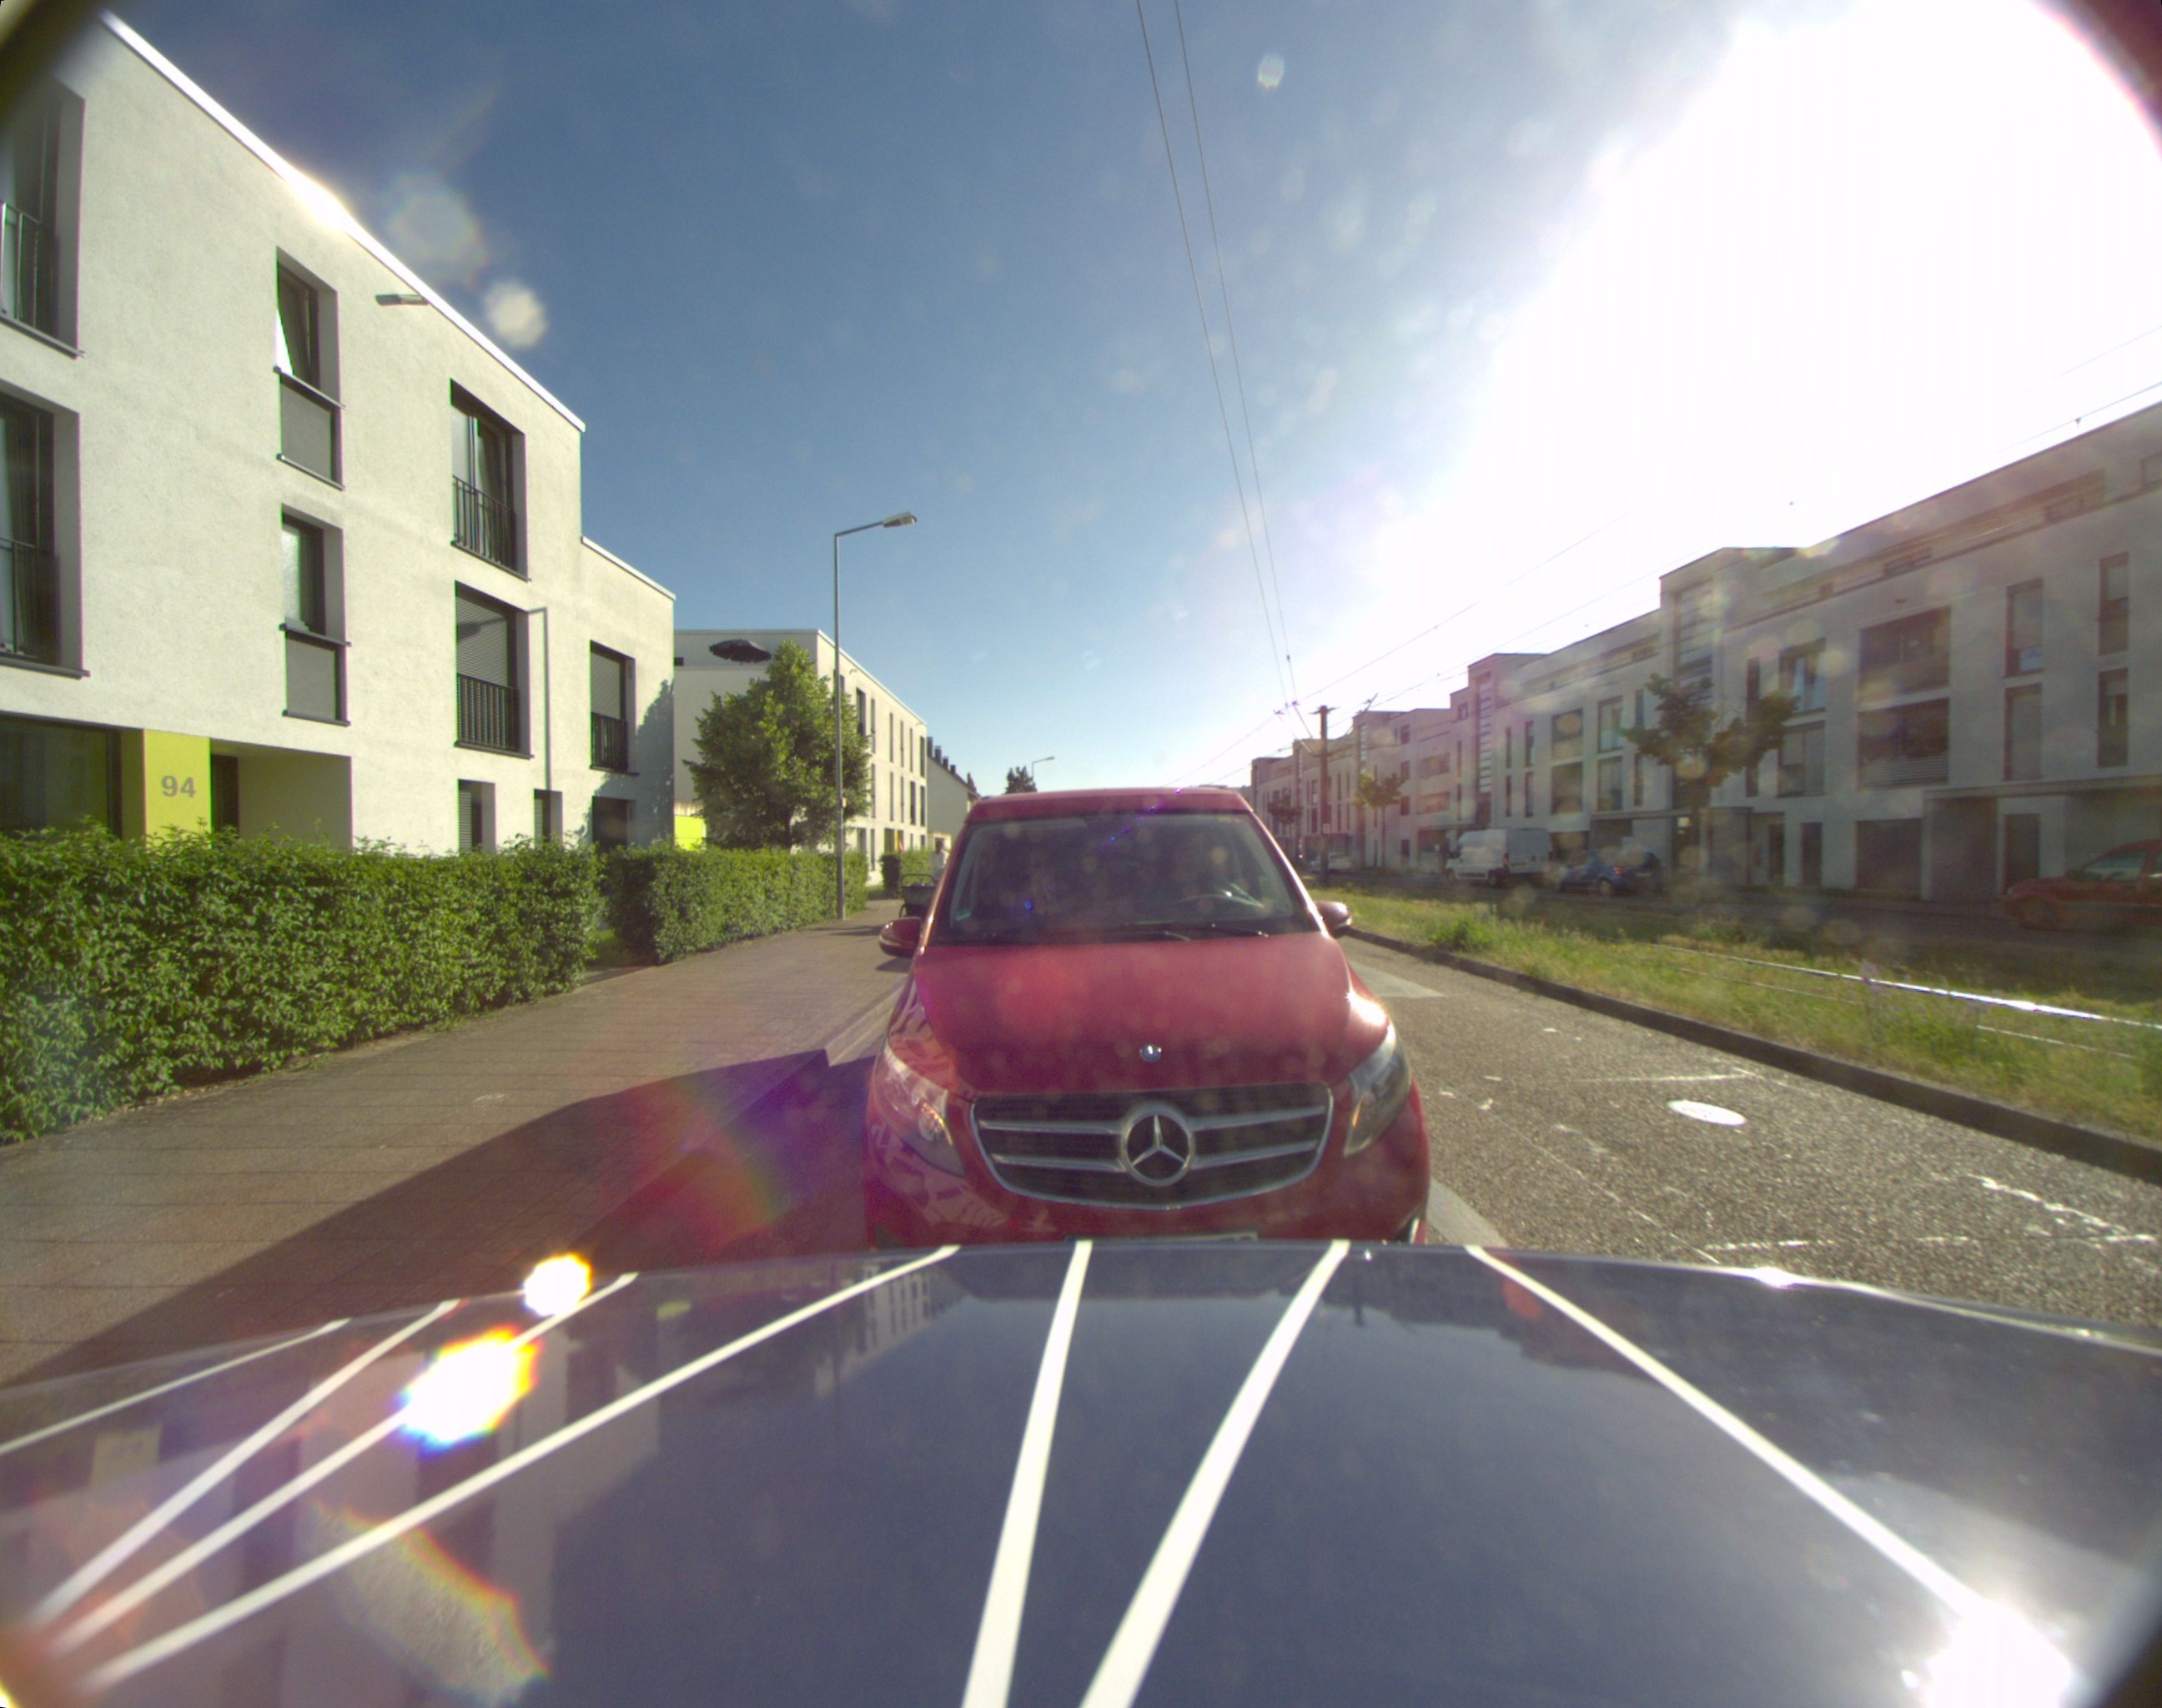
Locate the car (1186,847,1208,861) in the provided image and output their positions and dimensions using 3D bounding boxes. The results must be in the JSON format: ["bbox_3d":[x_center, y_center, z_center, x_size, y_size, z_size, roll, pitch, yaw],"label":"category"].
[{"bbox_3d":[15.185,-0.055,99.644,1.923,1.671,4.282,-2,1,-4],"label":"car"}]

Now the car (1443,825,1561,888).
[{"bbox_3d":[18.168,0.077,33.157,2.225,2.458,5.195,-2,1,0],"label":"car"}]

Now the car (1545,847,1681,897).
[{"bbox_3d":[18.376,0.578,26.485,1.999,1.536,3.835,-2,1,0],"label":"car"}]

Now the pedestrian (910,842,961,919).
[{"bbox_3d":[-3.056,0.547,16.031,0.913,1.585,0.854,0,1,-1],"label":"pedestrian"}]

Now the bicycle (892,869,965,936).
[{"bbox_3d":[-3.063,0.927,15.655,0.931,1.166,3.124,0,1,-1],"label":"bicycle"}]

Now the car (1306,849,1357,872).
[{"bbox_3d":[17.633,0.418,53.726,1.923,1.497,4.282,-2,1,-4],"label":"car"}]

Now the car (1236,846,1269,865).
[{"bbox_3d":[16.717,0.136,74.340,1.923,1.671,4.282,-2,1,-4],"label":"car"}]

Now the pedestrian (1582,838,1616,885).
[{"bbox_3d":[20.546,0.306,30.143,0.776,1.812,0.785,-2,1,1],"label":"pedestrian"}]

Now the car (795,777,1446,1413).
[{"bbox_3d":[0.152,0.705,4.519,1.874,1.843,4.506,-2,1,1],"label":"car"}]

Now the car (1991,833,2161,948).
[{"bbox_3d":[18.617,0.580,12.795,1.998,1.817,3.895,-2,1,3],"label":"car"}]

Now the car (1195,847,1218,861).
[{"bbox_3d":[15.472,-0.033,93.892,1.923,1.671,4.282,-2,1,-4],"label":"car"}]
